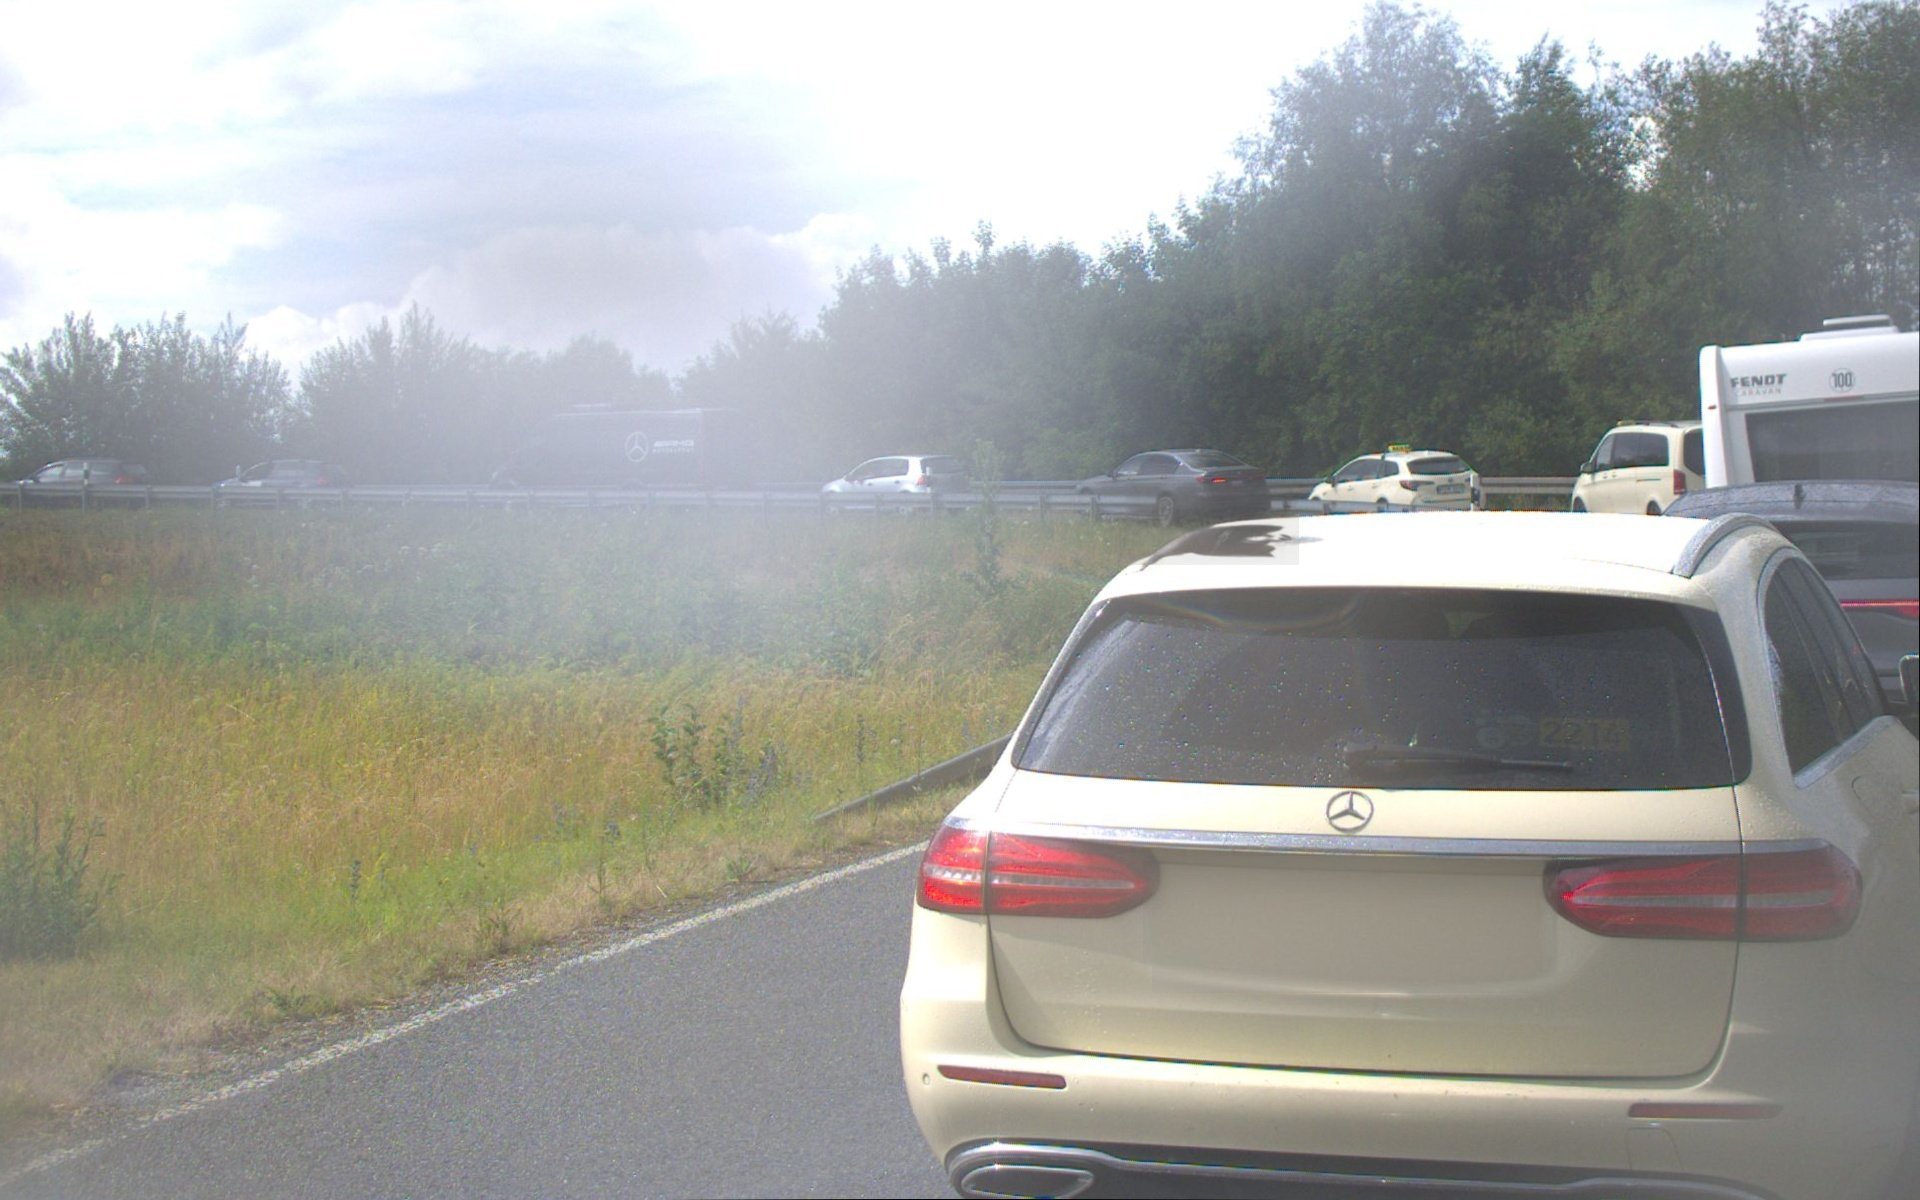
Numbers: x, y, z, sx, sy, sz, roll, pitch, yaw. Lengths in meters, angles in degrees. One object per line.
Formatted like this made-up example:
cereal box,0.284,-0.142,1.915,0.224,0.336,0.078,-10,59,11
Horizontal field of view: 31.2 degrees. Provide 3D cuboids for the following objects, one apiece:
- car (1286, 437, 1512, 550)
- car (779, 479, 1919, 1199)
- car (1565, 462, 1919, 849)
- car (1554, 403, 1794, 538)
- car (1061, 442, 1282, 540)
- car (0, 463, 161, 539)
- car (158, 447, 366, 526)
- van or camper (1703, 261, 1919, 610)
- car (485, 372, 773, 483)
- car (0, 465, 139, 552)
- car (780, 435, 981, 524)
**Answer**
car,8.051,-1.933,63.542,1.993,1.855,5.059,-3,1,-19
car,1.272,0.489,7.698,1.917,1.502,4.593,1,2,17
car,3.992,0.183,15.576,1.720,1.519,3.996,-1,1,21
car,10.996,-1.964,53.342,1.993,1.855,5.058,-2,0,-8
car,4.421,-2.288,72.713,1.994,1.855,5.057,-2,0,-33
car,-24.465,-2.664,93.212,5.044,1.855,1.999,-2,0,15
car,-18.396,-2.960,90.631,5.046,1.855,1.998,-2,0,20
van or camper,8.070,-1.359,29.807,2.433,2.720,5.996,0,1,20
car,-8.302,-4.262,85.836,6.976,2.586,2.869,1,2,37
car,-24.457,-2.444,92.689,3.992,2.006,1.998,-2,7,26
car,-1.907,-2.806,80.693,1.994,1.855,5.055,-2,0,-39
